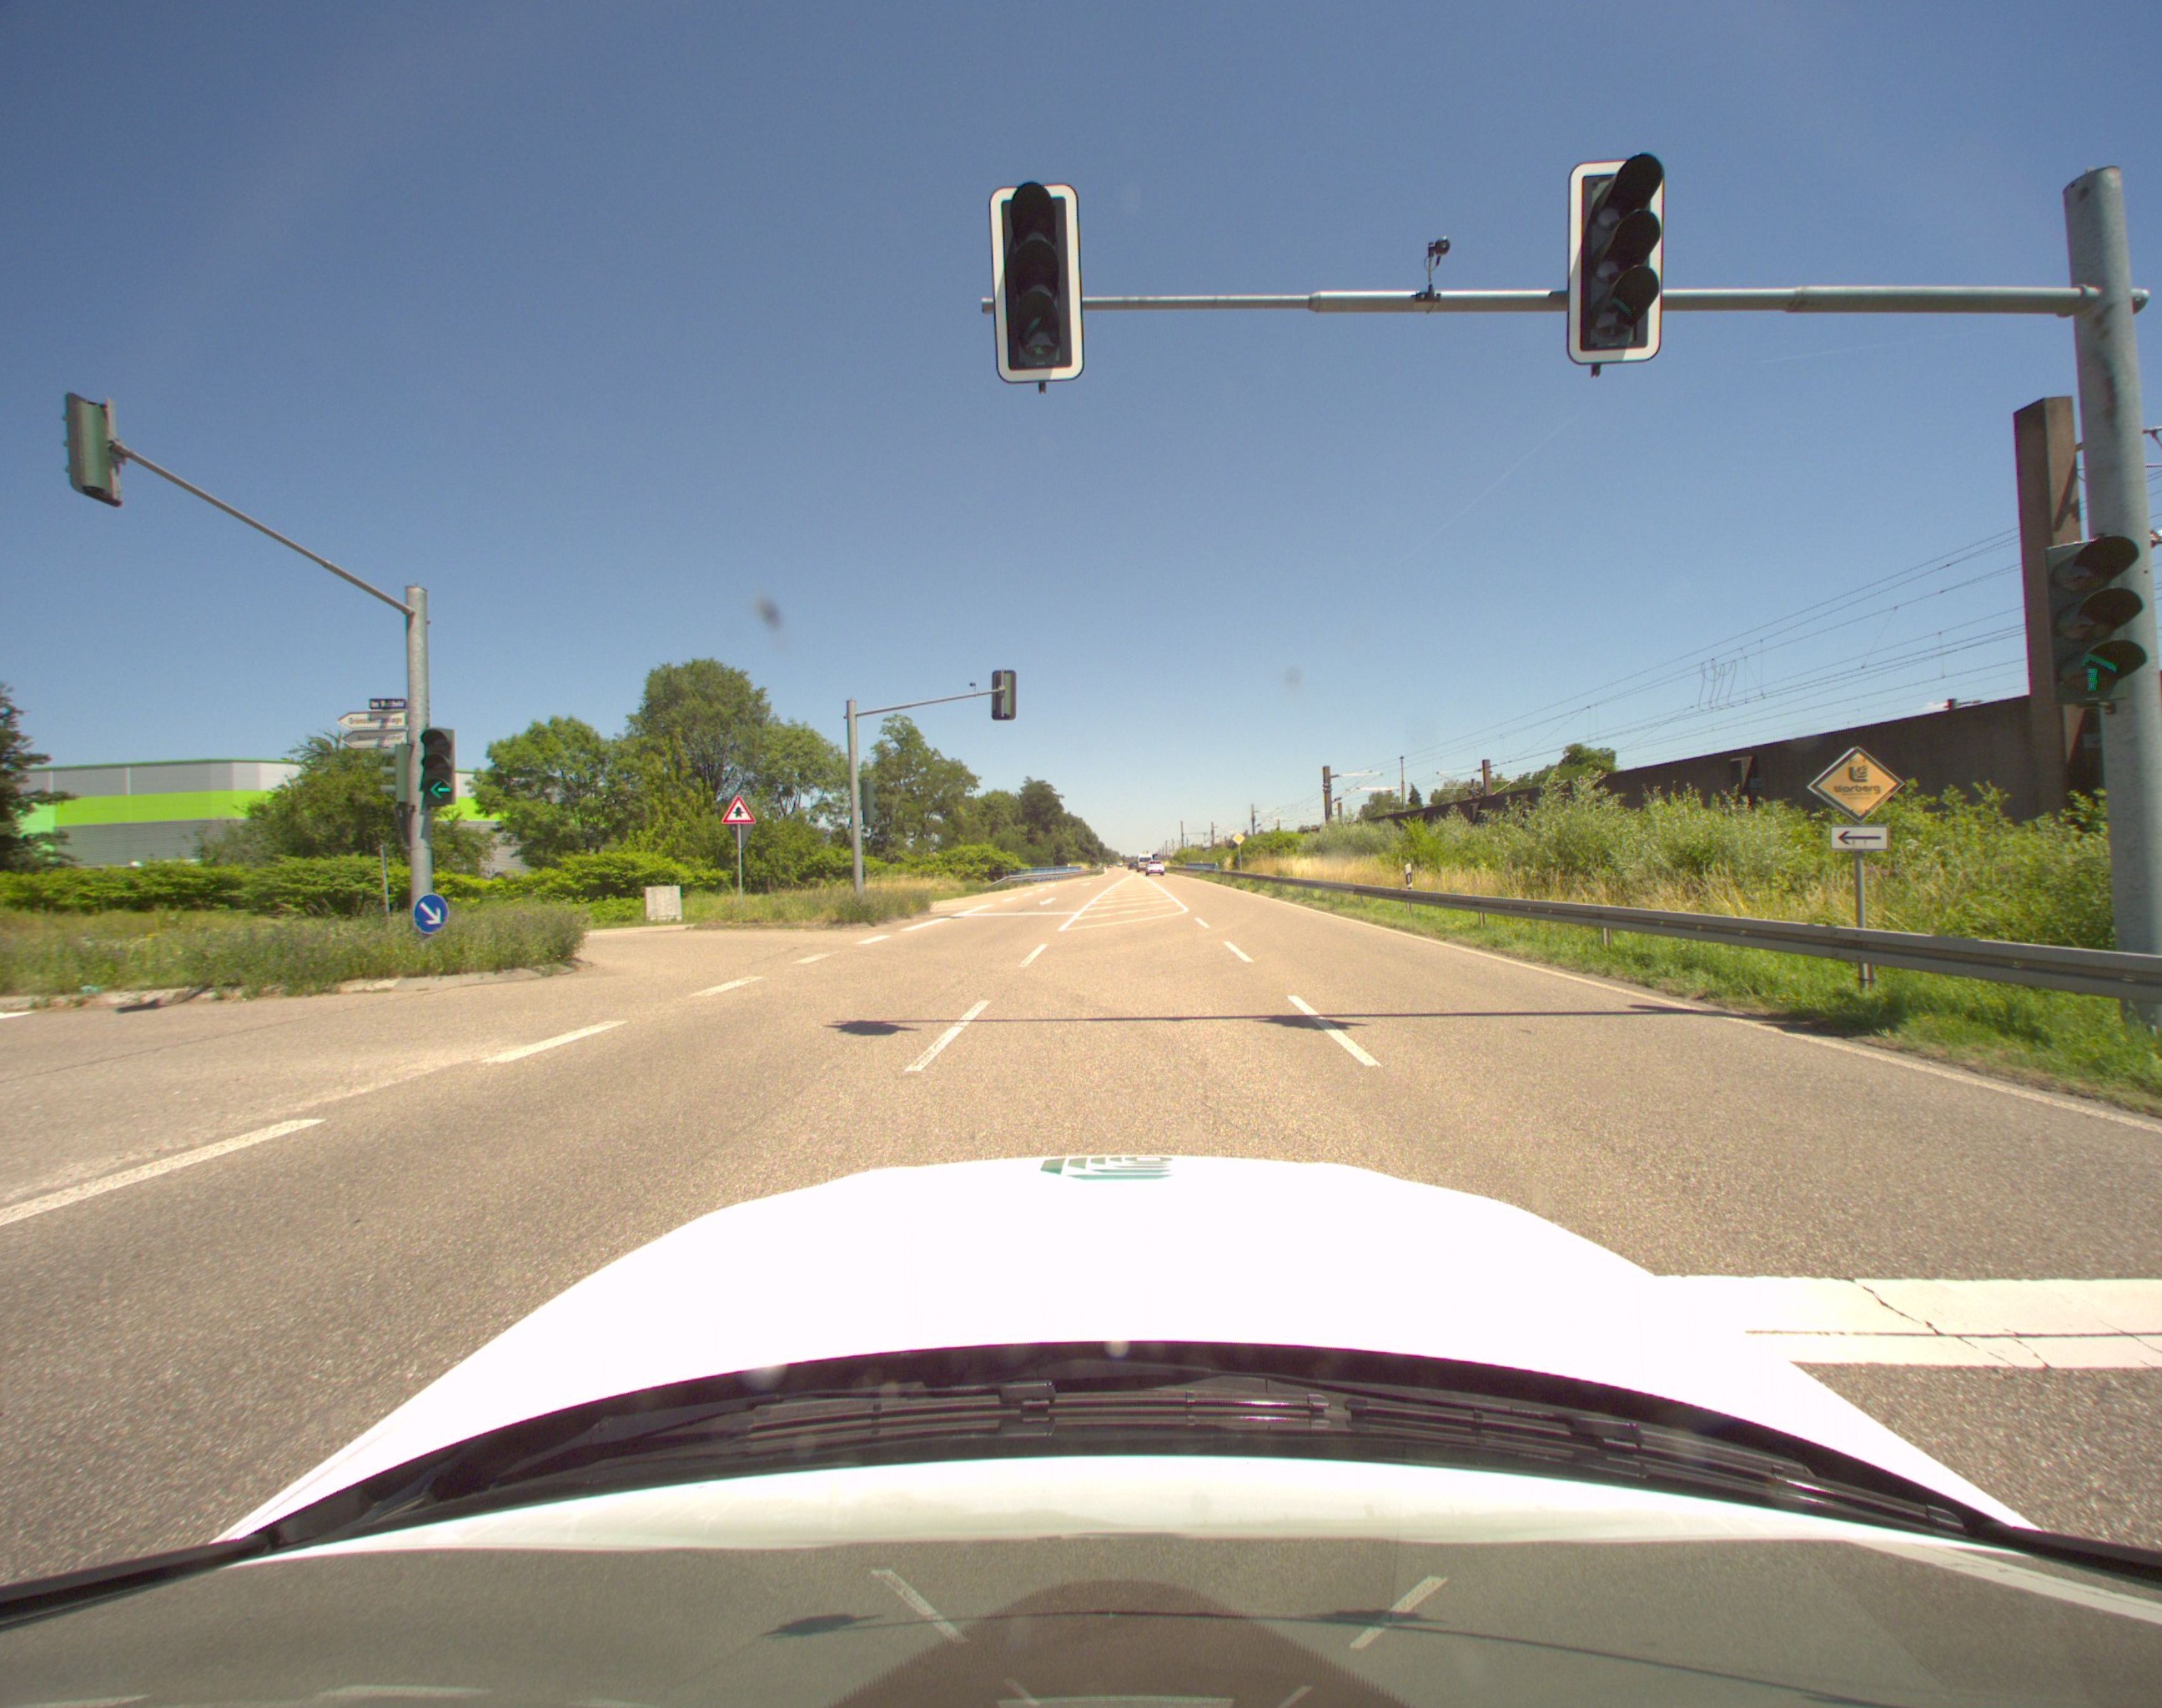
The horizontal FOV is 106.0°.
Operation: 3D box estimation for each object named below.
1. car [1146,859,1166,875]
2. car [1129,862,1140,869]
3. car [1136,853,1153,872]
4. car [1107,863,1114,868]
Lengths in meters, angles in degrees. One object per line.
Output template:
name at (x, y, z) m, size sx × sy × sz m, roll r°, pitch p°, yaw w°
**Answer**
car at (7.725, 1.314, 84.365) m, size 1.811 × 1.564 × 4.279 m, roll -1°, pitch -1°, yaw 1°
car at (10.018, 2.122, 153.246) m, size 1.849 × 1.379 × 4.506 m, roll -1°, pitch 0°, yaw 2°
car at (8.855, 1.207, 114.353) m, size 2.179 × 2.604 × 6.757 m, roll -1°, pitch 0°, yaw 4°
car at (8.758, 3.315, 240.583) m, size 1.849 × 1.379 × 4.506 m, roll -1°, pitch 0°, yaw 2°
